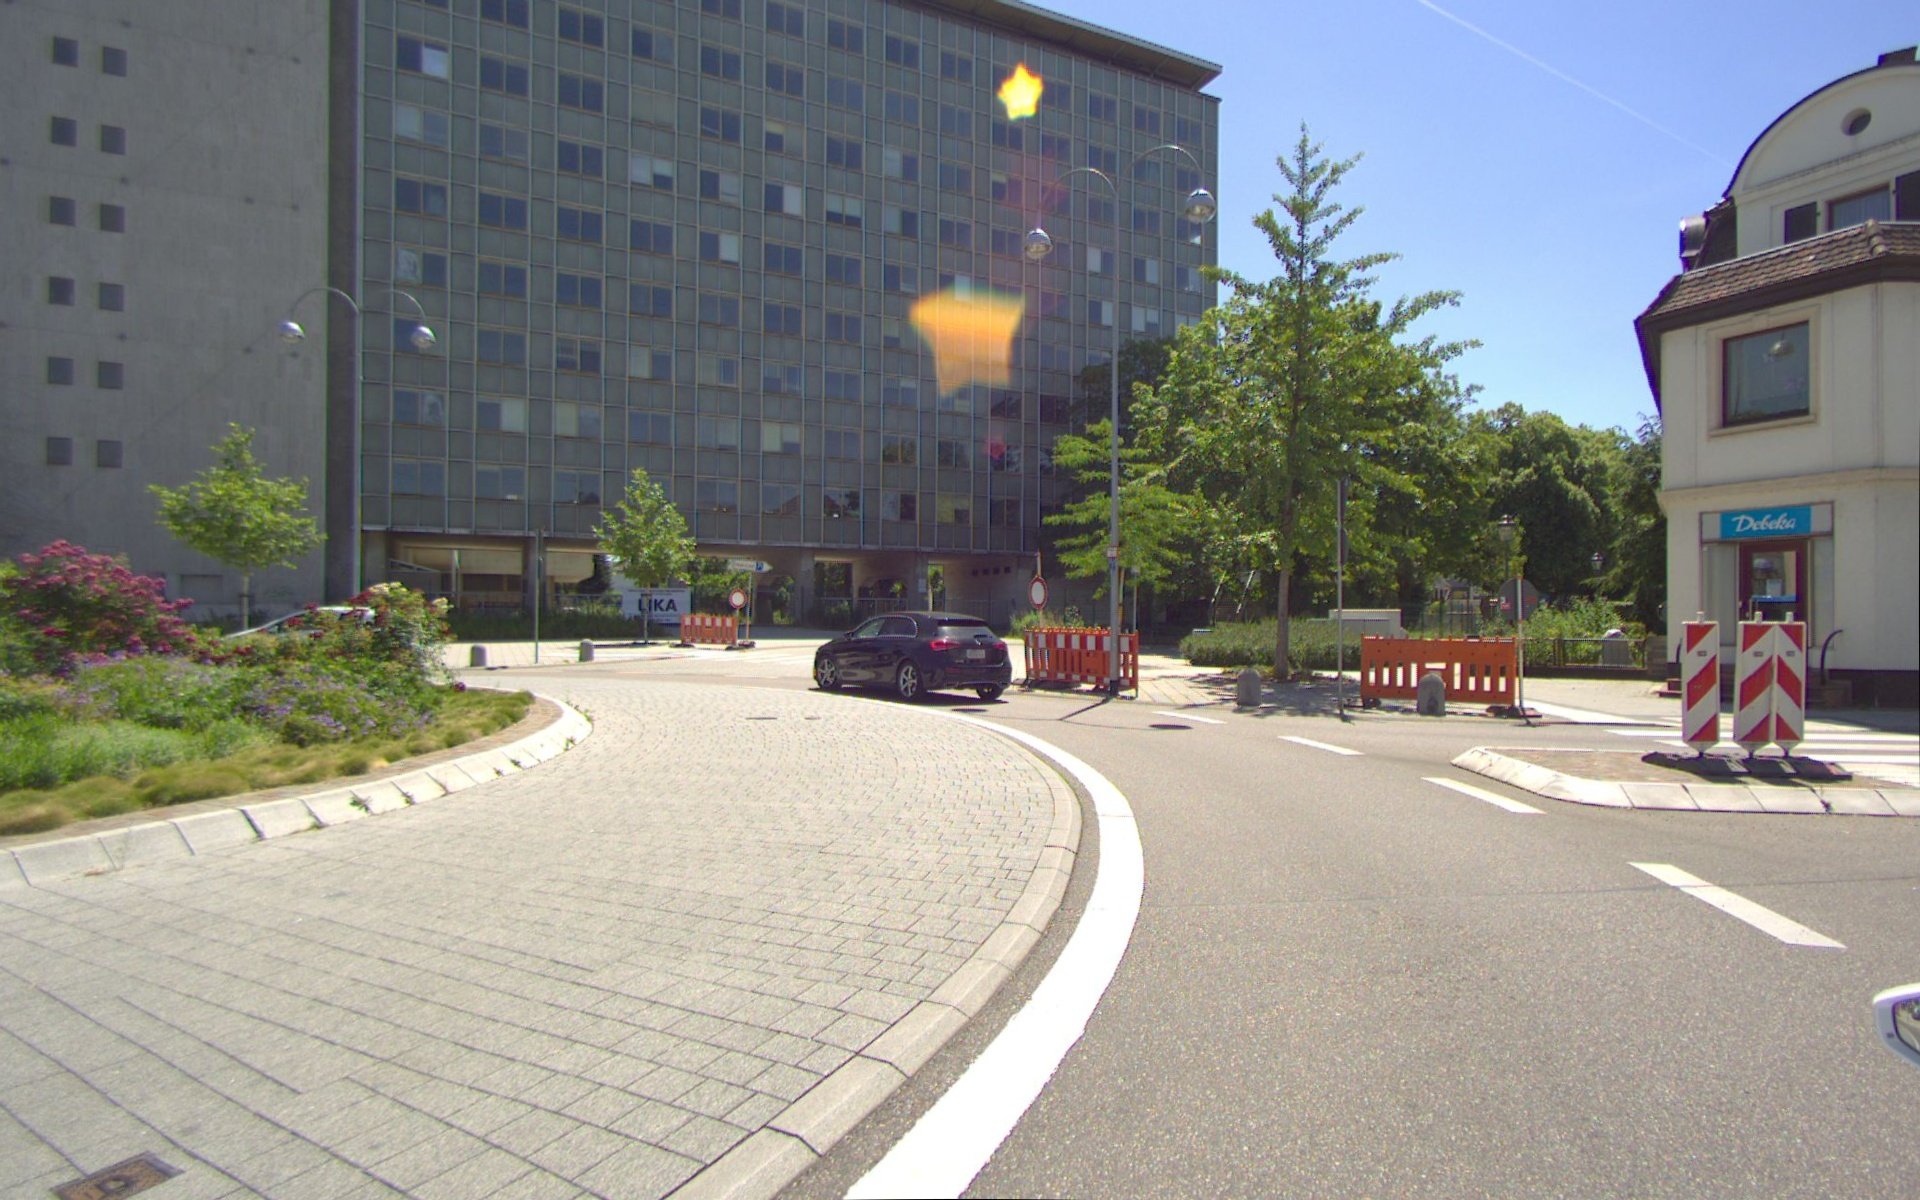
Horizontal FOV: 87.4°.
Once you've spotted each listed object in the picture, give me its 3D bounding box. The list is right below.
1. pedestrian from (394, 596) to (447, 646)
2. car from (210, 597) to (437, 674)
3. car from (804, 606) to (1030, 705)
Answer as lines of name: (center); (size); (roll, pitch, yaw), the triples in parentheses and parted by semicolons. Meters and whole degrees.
pedestrian: (-17.696, 0.684, 32.967); (1.258, 1.606, 0.948); (0, -1, -6)
car: (-14.014, 0.769, 22.340); (3.851, 1.618, 1.787); (1, 0, -12)
car: (-0.845, 0.853, 17.132); (1.942, 1.446, 3.957); (2, -1, -37)
